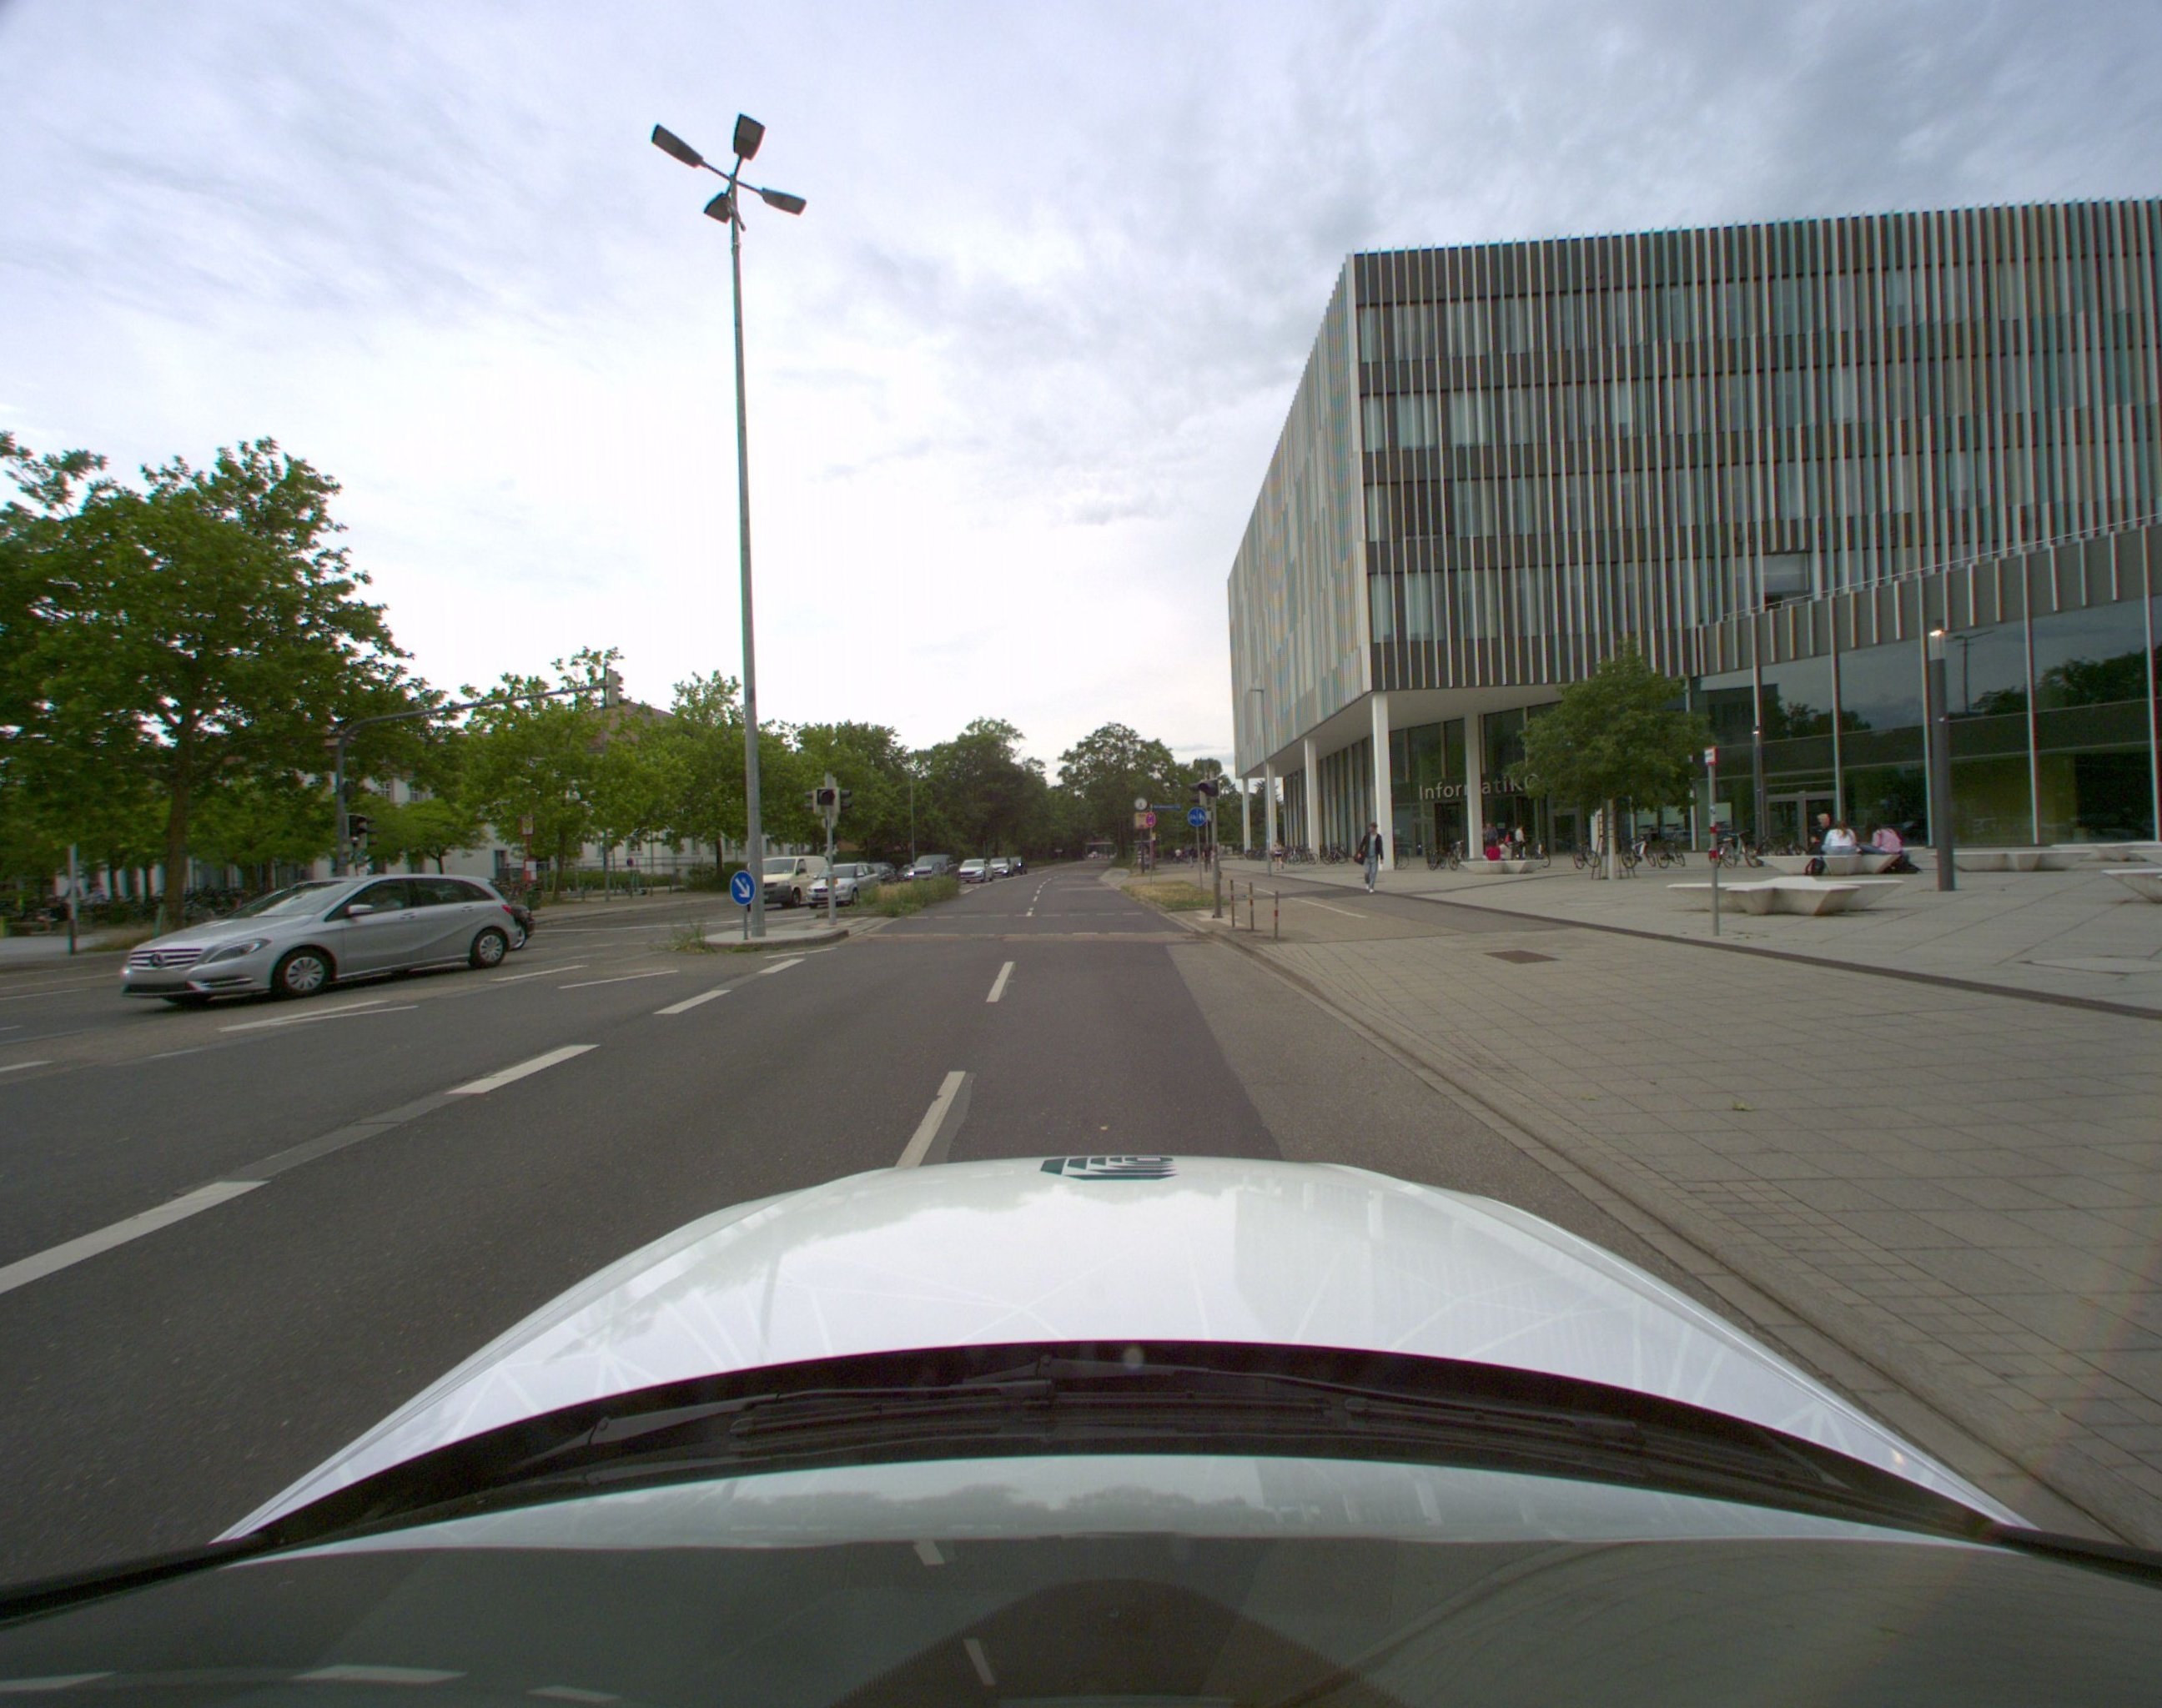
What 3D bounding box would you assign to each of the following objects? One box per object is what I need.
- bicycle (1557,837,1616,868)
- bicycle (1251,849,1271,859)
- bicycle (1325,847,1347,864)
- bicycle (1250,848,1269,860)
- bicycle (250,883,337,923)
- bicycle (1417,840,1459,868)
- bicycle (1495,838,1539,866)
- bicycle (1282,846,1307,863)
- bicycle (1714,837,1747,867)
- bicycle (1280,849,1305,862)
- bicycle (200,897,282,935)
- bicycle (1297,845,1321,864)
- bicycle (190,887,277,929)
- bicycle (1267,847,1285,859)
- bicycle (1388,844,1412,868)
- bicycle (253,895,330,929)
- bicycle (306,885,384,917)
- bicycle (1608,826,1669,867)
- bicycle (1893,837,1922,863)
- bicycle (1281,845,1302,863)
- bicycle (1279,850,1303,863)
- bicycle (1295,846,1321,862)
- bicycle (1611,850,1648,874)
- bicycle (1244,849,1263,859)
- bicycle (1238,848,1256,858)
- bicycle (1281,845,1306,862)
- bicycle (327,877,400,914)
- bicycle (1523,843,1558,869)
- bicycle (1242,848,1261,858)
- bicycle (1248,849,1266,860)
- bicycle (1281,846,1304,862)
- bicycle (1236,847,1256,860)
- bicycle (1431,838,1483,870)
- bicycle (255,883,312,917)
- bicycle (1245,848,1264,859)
[{"bbox_3d":[18.482,-0.057,29.781,2.197,1.006,0.775,-3,0,-27],"label":"bicycle"},{"bbox_3d":[16.386,0.008,74.134,1.599,0.874,0.557,-3,0,3],"label":"bicycle"},{"bbox_3d":[15.078,0.070,48.114,1.495,0.929,0.436,-4,2,-36],"label":"bicycle"},{"bbox_3d":[15.015,-0.002,68.530,1.526,0.833,0.557,-3,0,3],"label":"bicycle"},{"bbox_3d":[-34.551,2.145,35.774,2.656,1.559,0.920,-3,0,-8],"label":"bicycle"},{"bbox_3d":[15.561,0.000,35.479,2.194,1.115,0.727,-3,0,-40],"label":"bicycle"},{"bbox_3d":[17.177,-0.076,32.054,1.970,1.002,0.765,-3,0,-39],"label":"bicycle"},{"bbox_3d":[14.914,0.035,56.921,1.599,0.982,0.557,-5,0,3],"label":"bicycle"},{"bbox_3d":[20.616,-0.074,25.836,1.364,0.899,0.536,-3,0,-41],"label":"bicycle"},{"bbox_3d":[14.949,0.097,57.504,1.599,0.874,0.557,-3,0,3],"label":"bicycle"},{"bbox_3d":[-33.987,2.495,32.985,2.477,1.353,0.721,-3,0,-1],"label":"bicycle"},{"bbox_3d":[13.971,0.039,49.990,0.607,1.080,1.957,-5,0,-8],"label":"bicycle"},{"bbox_3d":[-35.331,2.242,33.970,2.652,1.559,0.780,-3,0,-3],"label":"bicycle"},{"bbox_3d":[15.150,-0.081,63.316,1.277,0.874,0.557,-3,0,3],"label":"bicycle"},{"bbox_3d":[14.733,0.084,37.670,0.635,1.061,1.844,-1,0,8],"label":"bicycle"},{"bbox_3d":[-33.784,2.487,34.866,2.527,1.269,0.721,-3,0,-1],"label":"bicycle"},{"bbox_3d":[-33.933,2.168,37.566,2.810,1.329,0.721,-3,0,-1],"label":"bicycle"},{"bbox_3d":[19.411,-0.266,28.334,2.008,1.306,0.641,-4,2,-19],"label":"bicycle"},{"bbox_3d":[23.504,-0.116,23.145,1.193,0.691,0.485,-3,0,-41],"label":"bicycle"},{"bbox_3d":[13.638,0.002,52.815,0.634,1.140,2.200,-5,0,-1],"label":"bicycle"},{"bbox_3d":[15.428,0.164,59.763,1.599,0.874,0.557,-3,0,3],"label":"bicycle"},{"bbox_3d":[15.418,-0.005,55.410,1.595,0.936,0.571,-5,0,13],"label":"bicycle"},{"bbox_3d":[15.339,0.219,22.754,1.700,0.632,0.427,-1,-1,-41],"label":"bicycle"},{"bbox_3d":[16.307,-0.018,76.935,1.599,0.874,0.557,-3,0,3],"label":"bicycle"},{"bbox_3d":[15.919,-0.072,77.917,1.599,0.874,0.557,-3,0,3],"label":"bicycle"},{"bbox_3d":[15.284,-0.053,58.490,1.633,1.091,0.574,-5,-1,11],"label":"bicycle"},{"bbox_3d":[-34.130,1.963,38.790,2.442,1.559,0.920,-3,0,-8],"label":"bicycle"},{"bbox_3d":[17.587,0.071,31.152,0.663,0.899,1.857,-3,0,44],"label":"bicycle"},{"bbox_3d":[16.487,-0.112,78.746,1.601,0.874,0.556,-3,0,-1],"label":"bicycle"},{"bbox_3d":[16.277,0.021,75.331,1.599,0.874,0.557,-3,0,3],"label":"bicycle"},{"bbox_3d":[14.649,0.003,56.364,1.394,1.043,0.559,-5,0,3],"label":"bicycle"},{"bbox_3d":[16.177,-0.048,79.905,1.788,1.082,0.626,-5,0,1],"label":"bicycle"},{"bbox_3d":[15.744,-0.006,34.066,2.734,1.188,0.765,-3,0,-39],"label":"bicycle"},{"bbox_3d":[-39.583,2.273,40.433,2.636,1.559,0.927,-3,0,20],"label":"bicycle"},{"bbox_3d":[14.880,-0.021,69.772,1.448,0.839,0.557,-3,0,3],"label":"bicycle"}]
